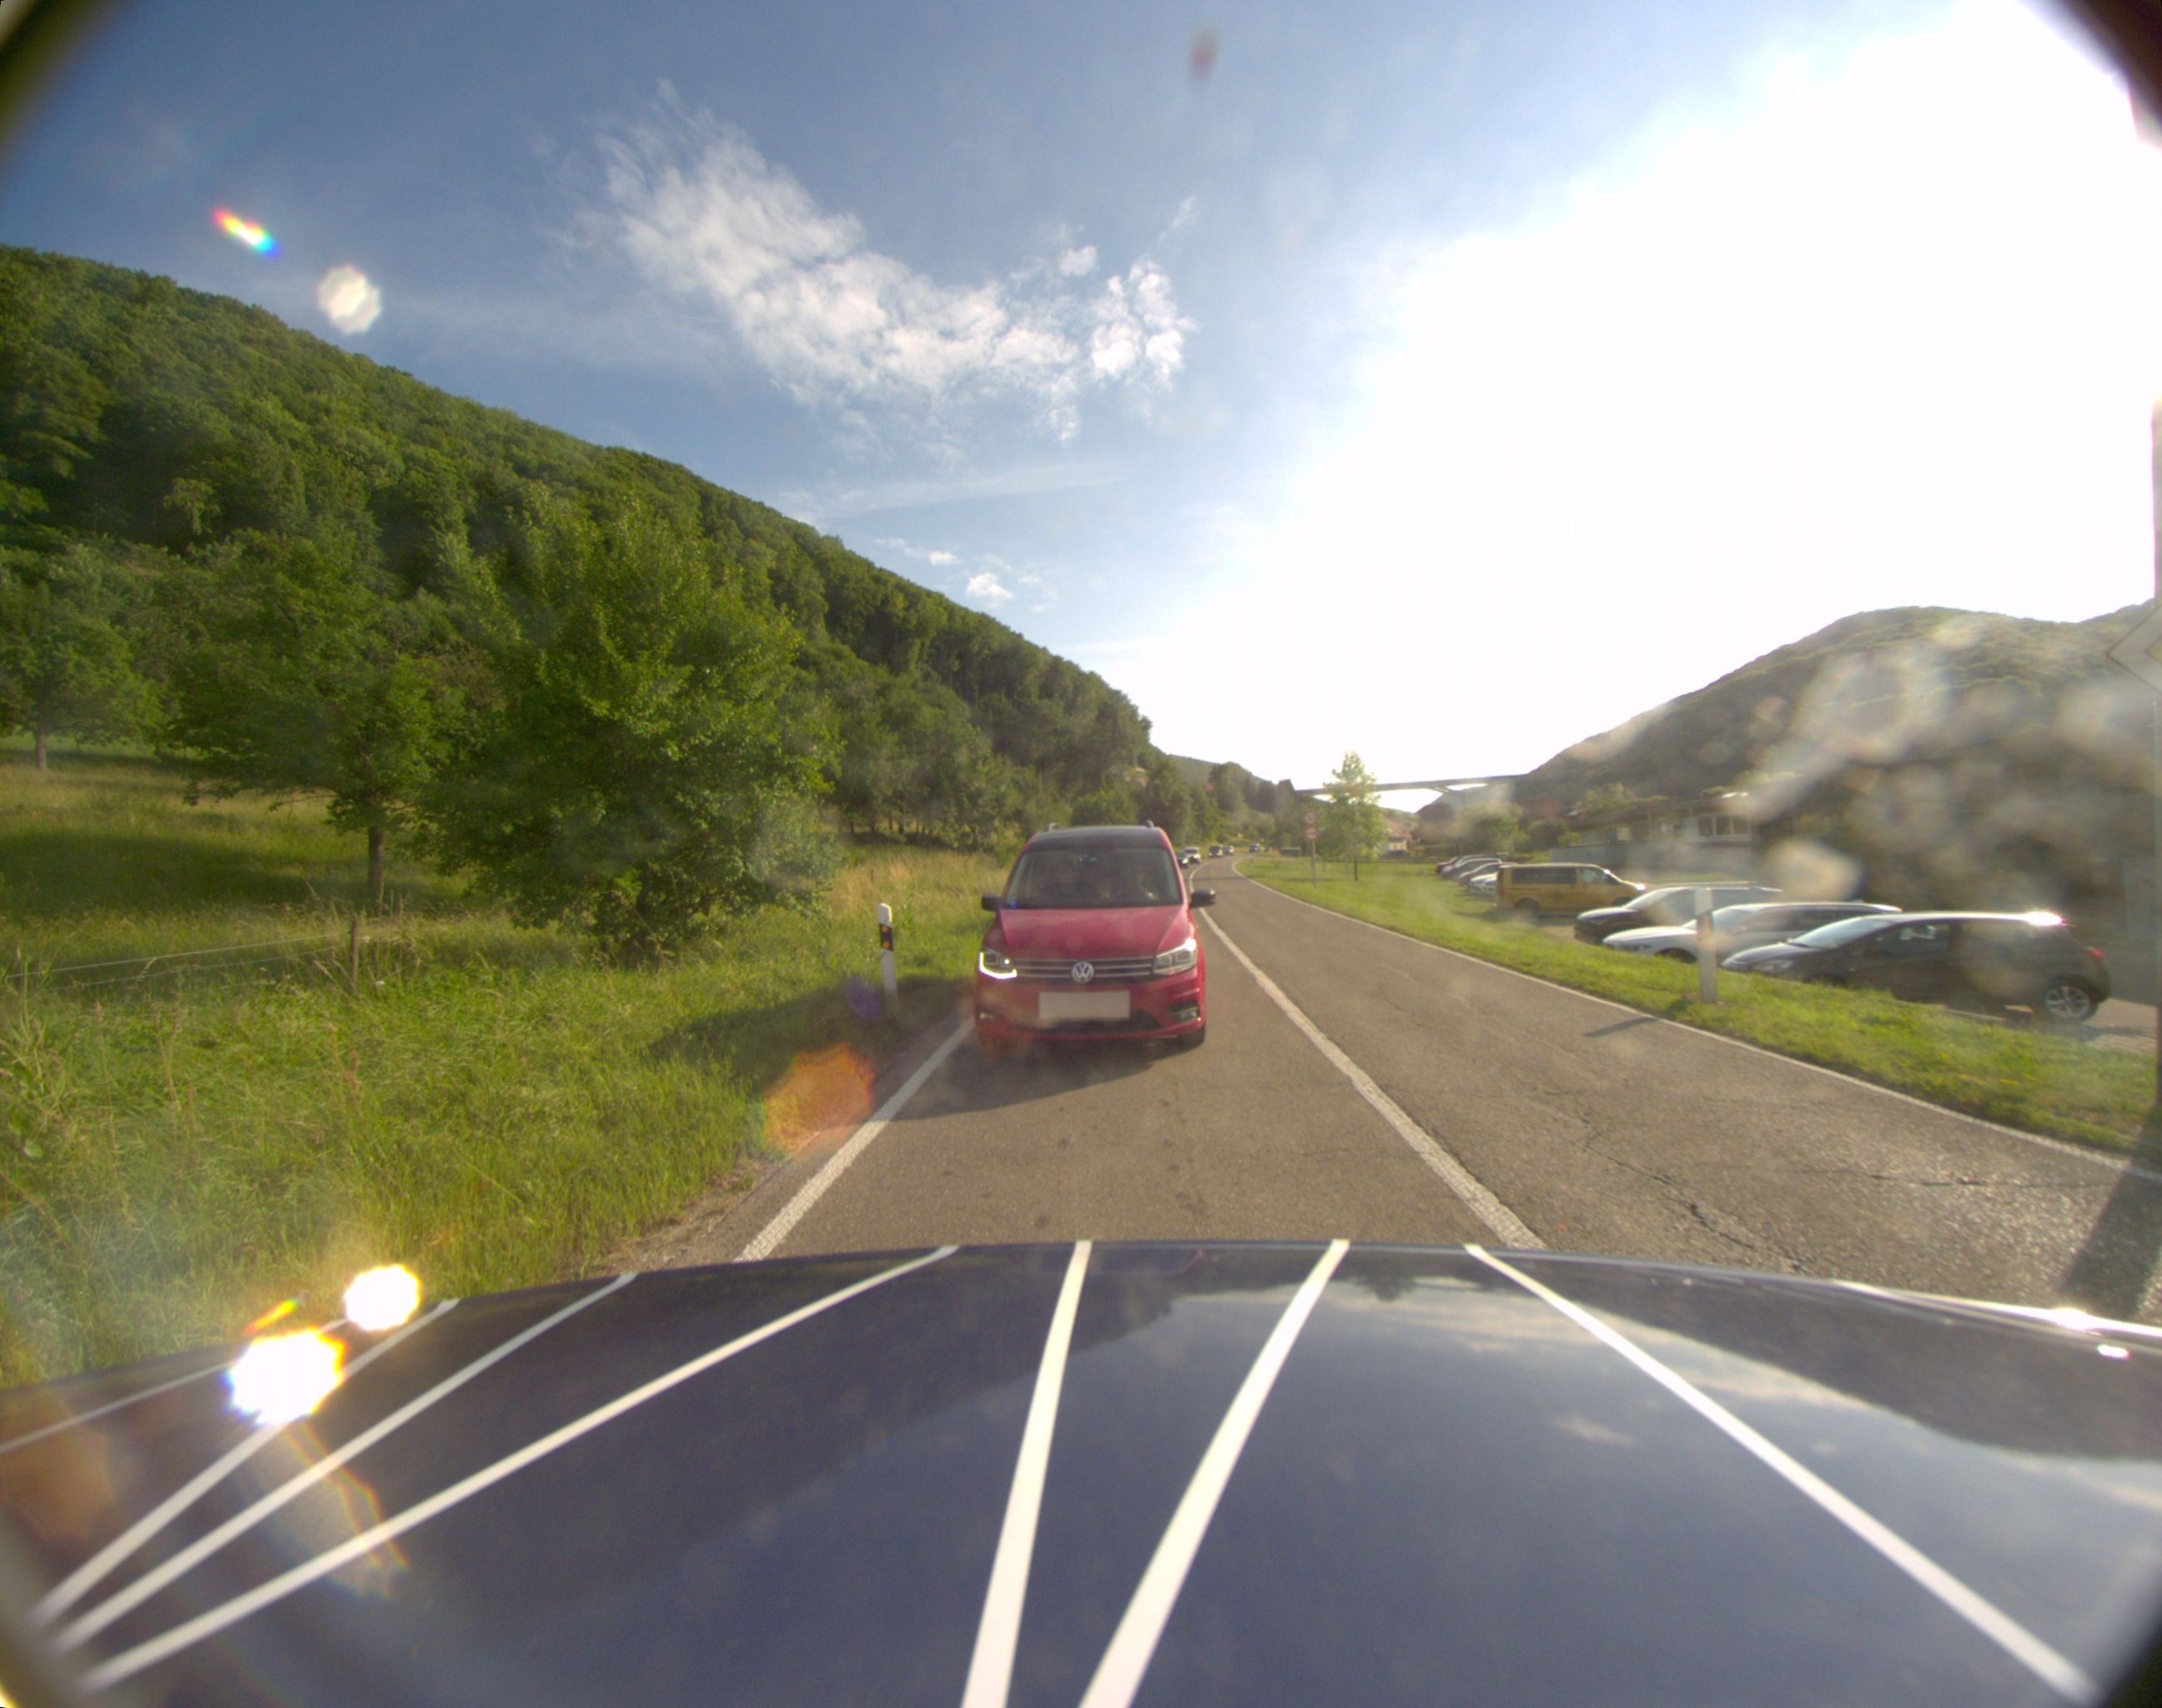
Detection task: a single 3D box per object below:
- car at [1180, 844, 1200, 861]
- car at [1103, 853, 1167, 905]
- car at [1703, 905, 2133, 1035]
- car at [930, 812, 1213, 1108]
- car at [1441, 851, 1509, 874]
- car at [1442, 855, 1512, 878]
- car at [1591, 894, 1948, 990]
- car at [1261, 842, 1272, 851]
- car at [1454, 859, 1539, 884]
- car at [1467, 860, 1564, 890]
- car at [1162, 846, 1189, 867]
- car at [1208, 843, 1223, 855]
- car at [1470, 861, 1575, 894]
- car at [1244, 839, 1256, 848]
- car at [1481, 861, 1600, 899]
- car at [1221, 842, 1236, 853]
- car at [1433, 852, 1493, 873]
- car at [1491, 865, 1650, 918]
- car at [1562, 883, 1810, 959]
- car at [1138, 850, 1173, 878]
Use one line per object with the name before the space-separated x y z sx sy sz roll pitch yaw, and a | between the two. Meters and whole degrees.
car | 11.553 -0.141 80.422 1.797 1.725 4.287 -2 0 11
car | 1.723 0.726 24.023 1.798 1.464 4.285 -2 0 4
car | 12.261 1.622 11.540 3.990 1.526 1.836 -1 0 22
car | 0.097 0.697 6.996 1.746 1.849 4.350 -2 0 4
car | 31.339 0.657 60.606 4.664 1.752 2.003 -1 0 22
car | 29.258 0.934 56.270 4.436 1.573 2.003 -2 0 22
car | 12.678 1.571 14.425 4.644 1.488 1.915 -1 0 19
car | 41.496 -1.714 169.846 1.908 1.893 4.005 -2 1 19
car | 25.539 1.092 46.842 4.436 1.443 2.003 -1 0 24
car | 23.934 1.128 42.059 4.436 1.573 2.003 -1 0 22
car | 7.952 0.231 63.716 1.911 1.675 4.004 -1 0 11
car | 19.457 -0.726 109.879 1.677 1.637 3.350 -2 0 16
car | 22.524 1.188 38.988 4.436 1.577 2.003 -1 0 23
car | 35.147 -2.160 157.696 1.908 1.893 4.005 -2 1 20
car | 21.431 1.200 35.653 4.544 1.691 2.003 -1 0 23
car | 24.786 -1.066 127.224 1.996 1.707 4.005 -2 0 17
car | 32.959 0.732 65.688 4.436 1.709 2.003 -1 0 22
car | 17.896 1.323 28.077 4.652 1.802 2.003 -1 0 24
car | 14.491 1.623 18.523 4.288 1.628 1.915 -3 0 18
car | 4.329 0.562 43.481 1.798 1.464 4.286 -2 0 7
